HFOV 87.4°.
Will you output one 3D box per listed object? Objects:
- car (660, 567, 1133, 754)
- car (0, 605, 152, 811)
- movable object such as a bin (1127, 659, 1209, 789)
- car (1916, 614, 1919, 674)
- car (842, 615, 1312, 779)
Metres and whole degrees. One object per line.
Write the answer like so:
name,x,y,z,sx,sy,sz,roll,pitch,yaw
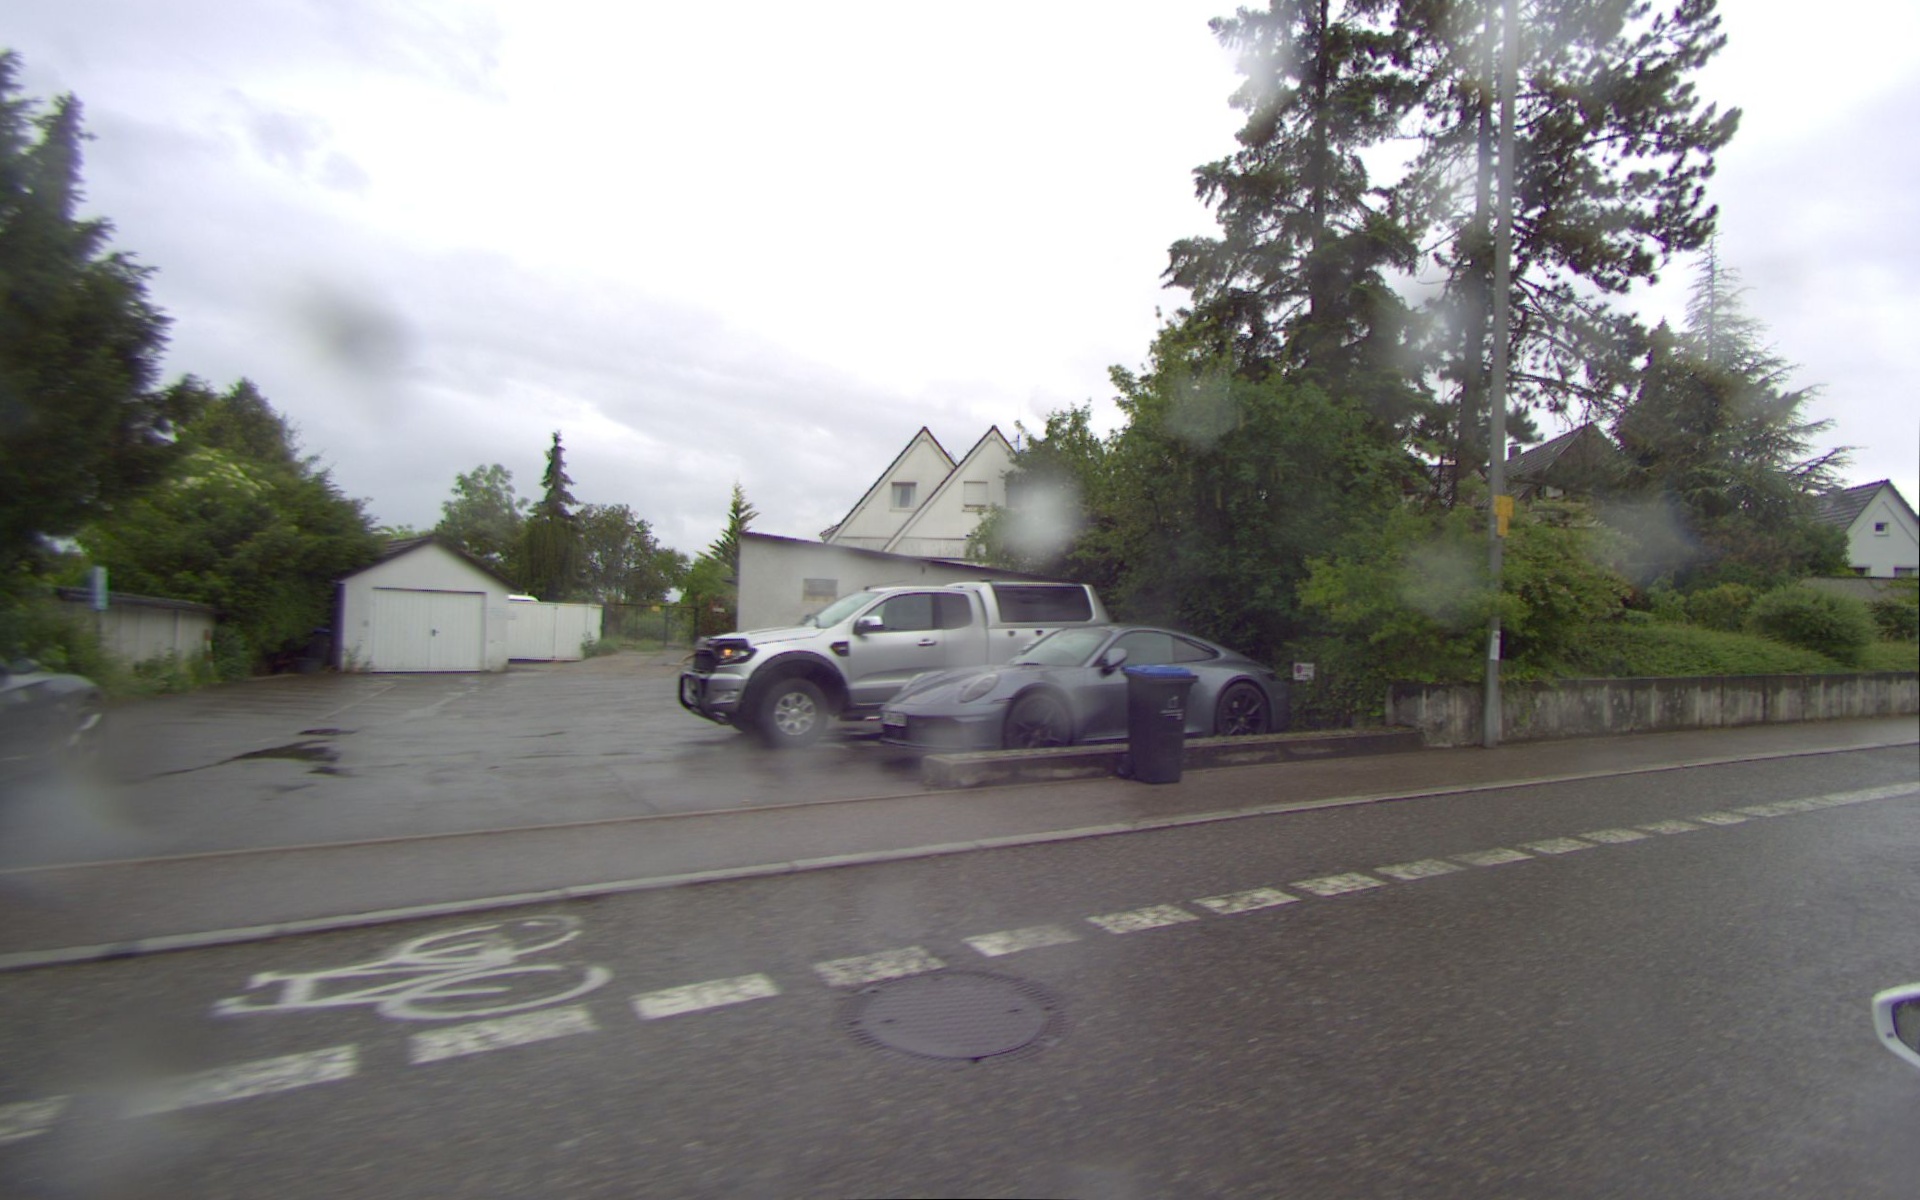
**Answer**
car,-0.671,0.674,12.209,5.410,1.868,1.985,1,-1,-28
car,-7.157,0.666,6.622,1.848,1.288,3.977,1,-1,-24
movable object such as a bin,1.693,0.987,8.162,0.552,1.001,0.368,1,-2,-31
car,30.627,1.316,29.429,1.959,1.862,4.003,0,-2,12
car,1.225,0.860,10.087,4.379,1.325,1.985,1,-2,-29
